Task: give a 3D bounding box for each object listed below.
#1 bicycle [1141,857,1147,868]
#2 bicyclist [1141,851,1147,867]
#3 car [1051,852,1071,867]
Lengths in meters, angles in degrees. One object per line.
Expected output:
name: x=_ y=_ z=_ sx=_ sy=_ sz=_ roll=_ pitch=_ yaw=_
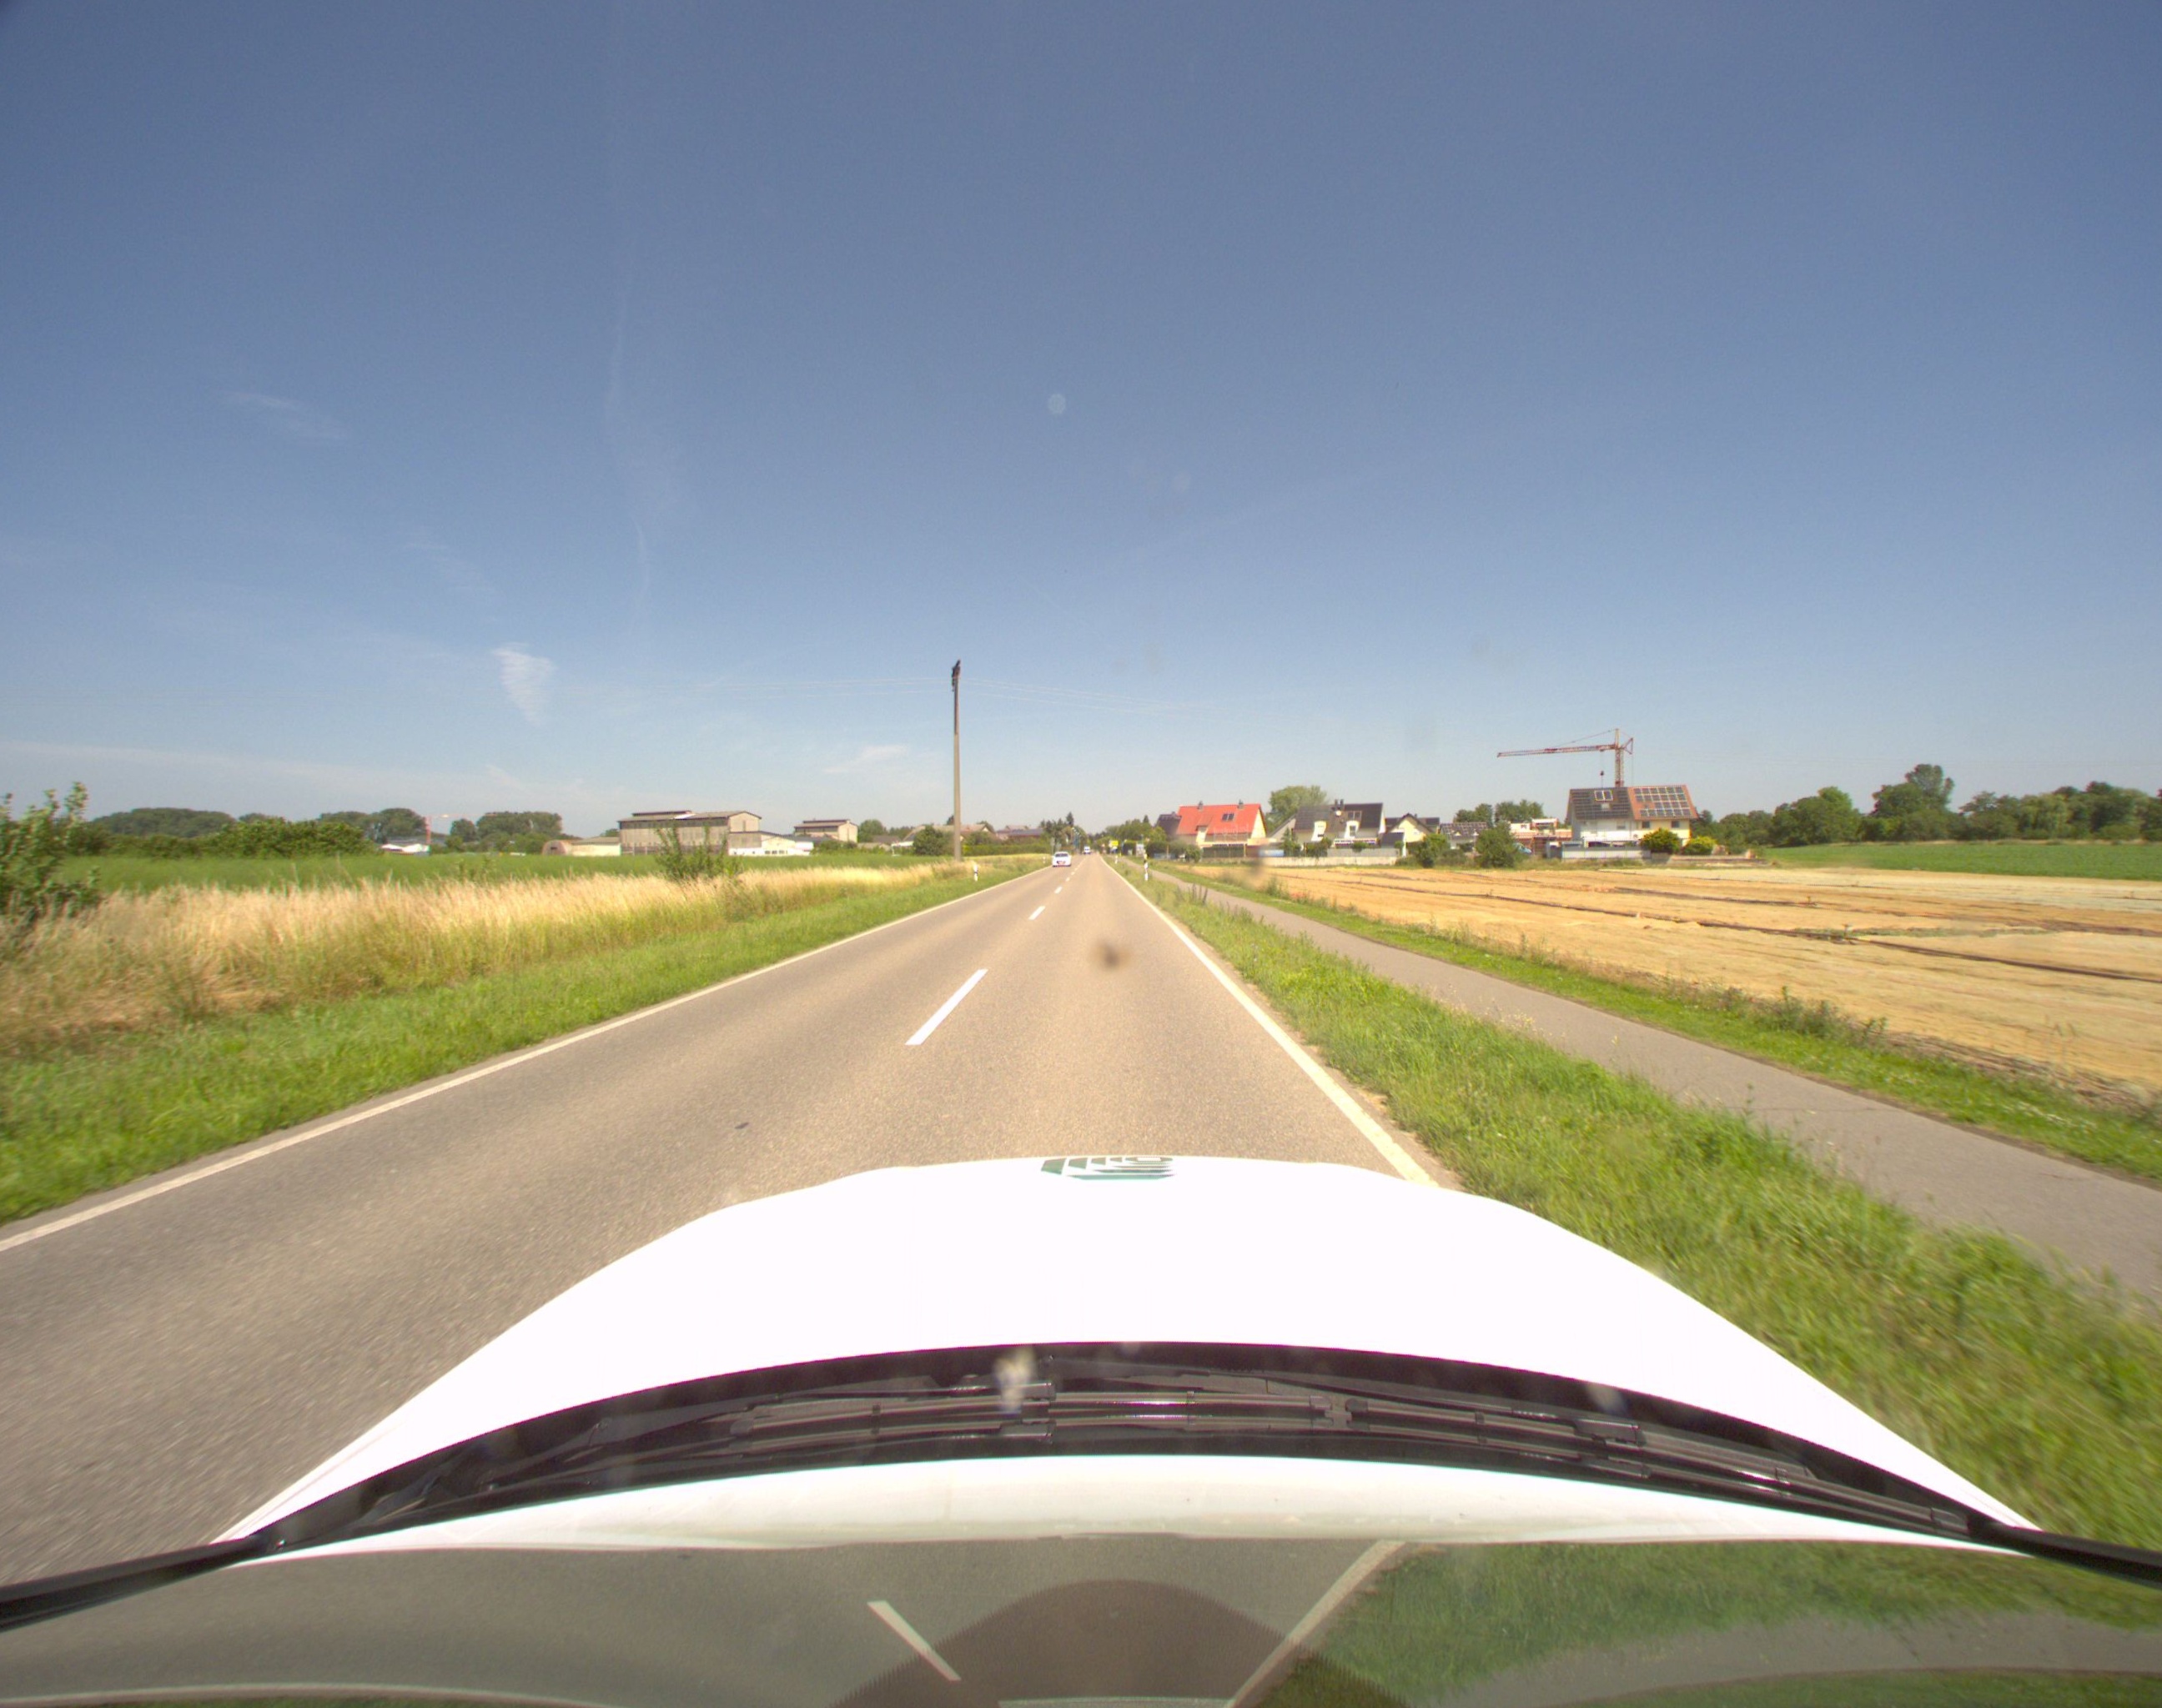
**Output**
bicycle: x=7.208 y=0.926 z=93.214 sx=0.608 sy=1.158 sz=2.274 roll=1 pitch=1 yaw=0
bicyclist: x=7.219 y=0.567 z=93.055 sx=0.643 sy=1.889 sz=0.861 roll=1 pitch=1 yaw=0
car: x=-1.947 y=0.493 z=81.728 sx=1.785 sy=1.409 sz=4.186 roll=-2 pitch=0 yaw=1
